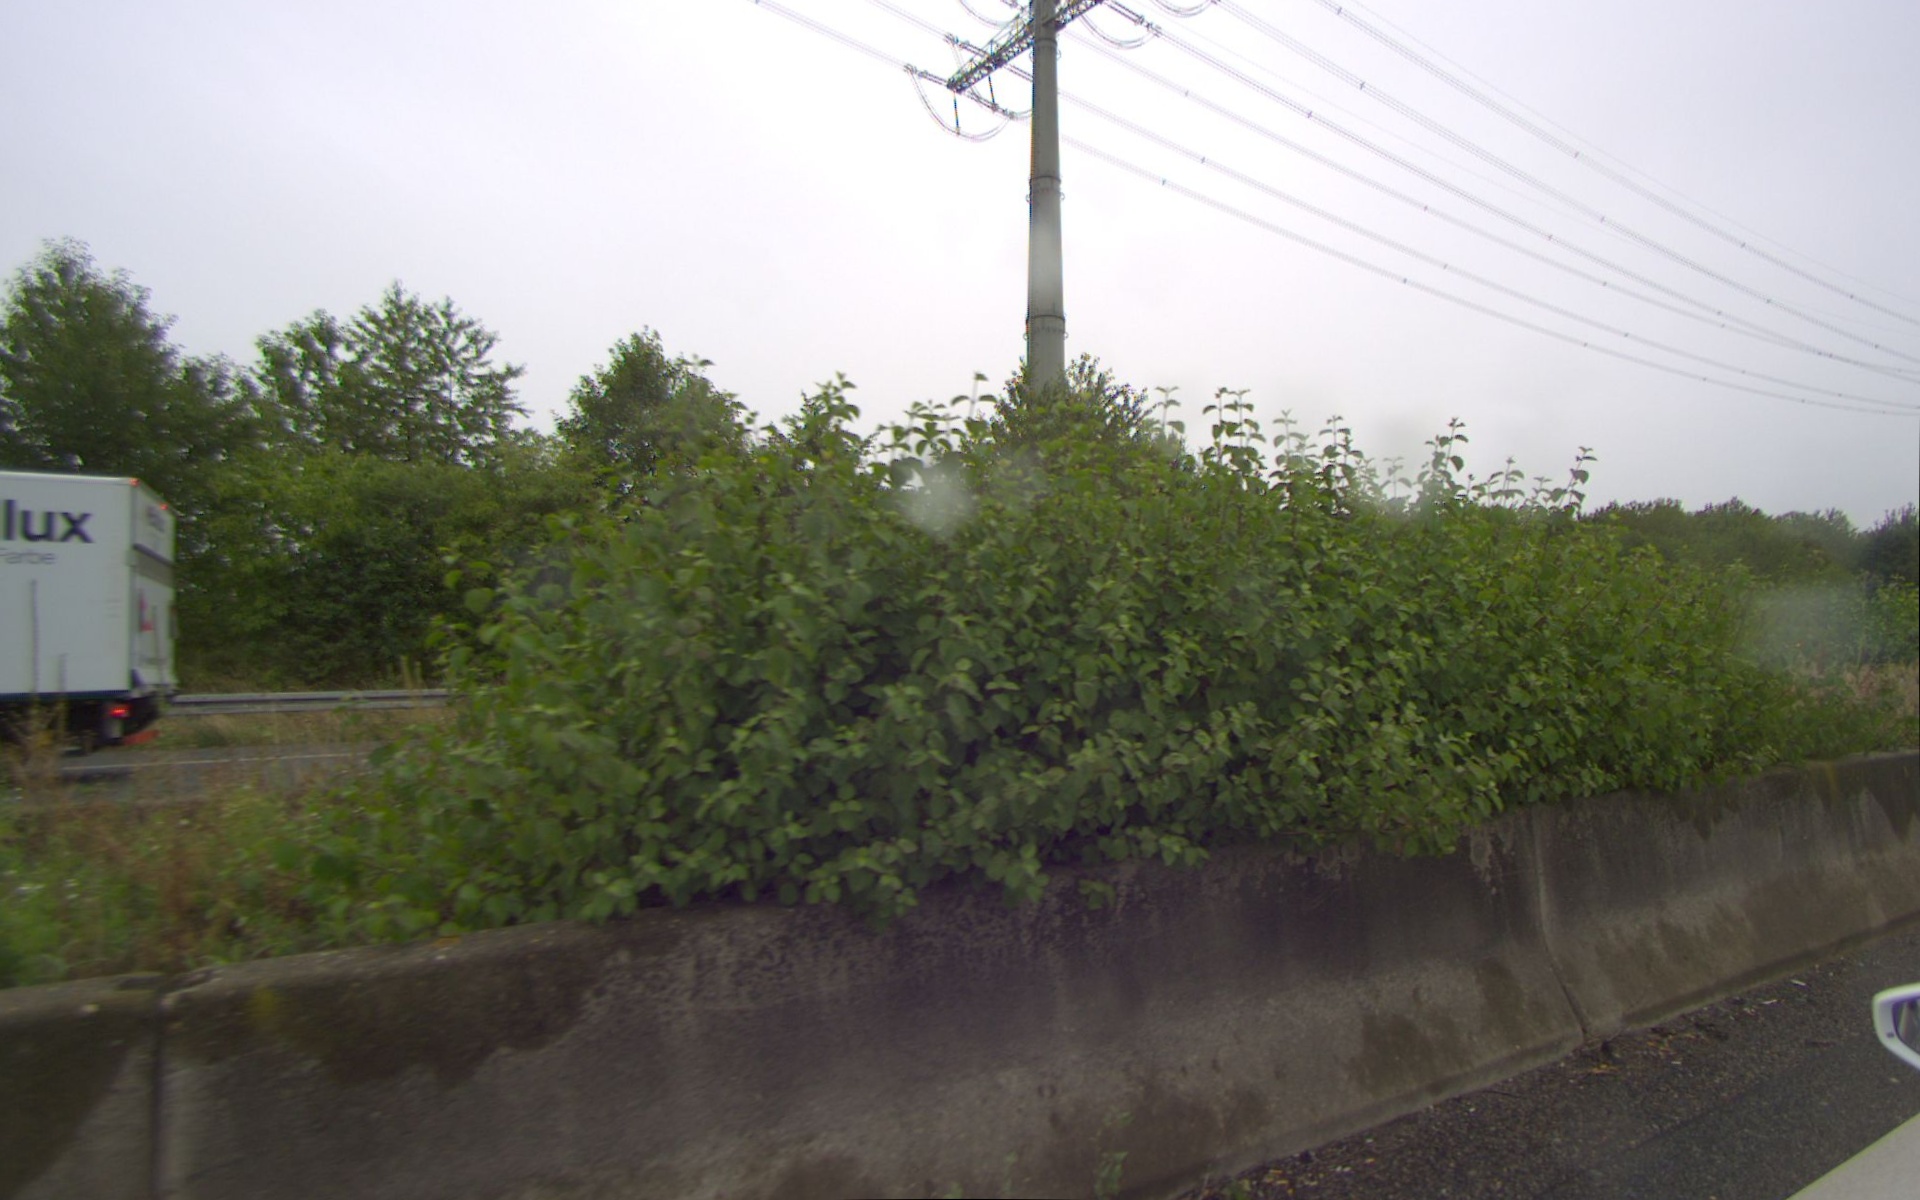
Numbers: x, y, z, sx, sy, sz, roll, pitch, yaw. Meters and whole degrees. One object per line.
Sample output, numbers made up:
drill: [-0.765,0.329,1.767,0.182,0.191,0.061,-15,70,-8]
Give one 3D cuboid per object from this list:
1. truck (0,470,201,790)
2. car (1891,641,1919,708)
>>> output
truck: [-12.235,0.309,10.129,6.970,3.269,2.251,2,-4,-30]
car: [30.178,2.271,30.466,4.112,1.959,1.724,2,0,-30]
